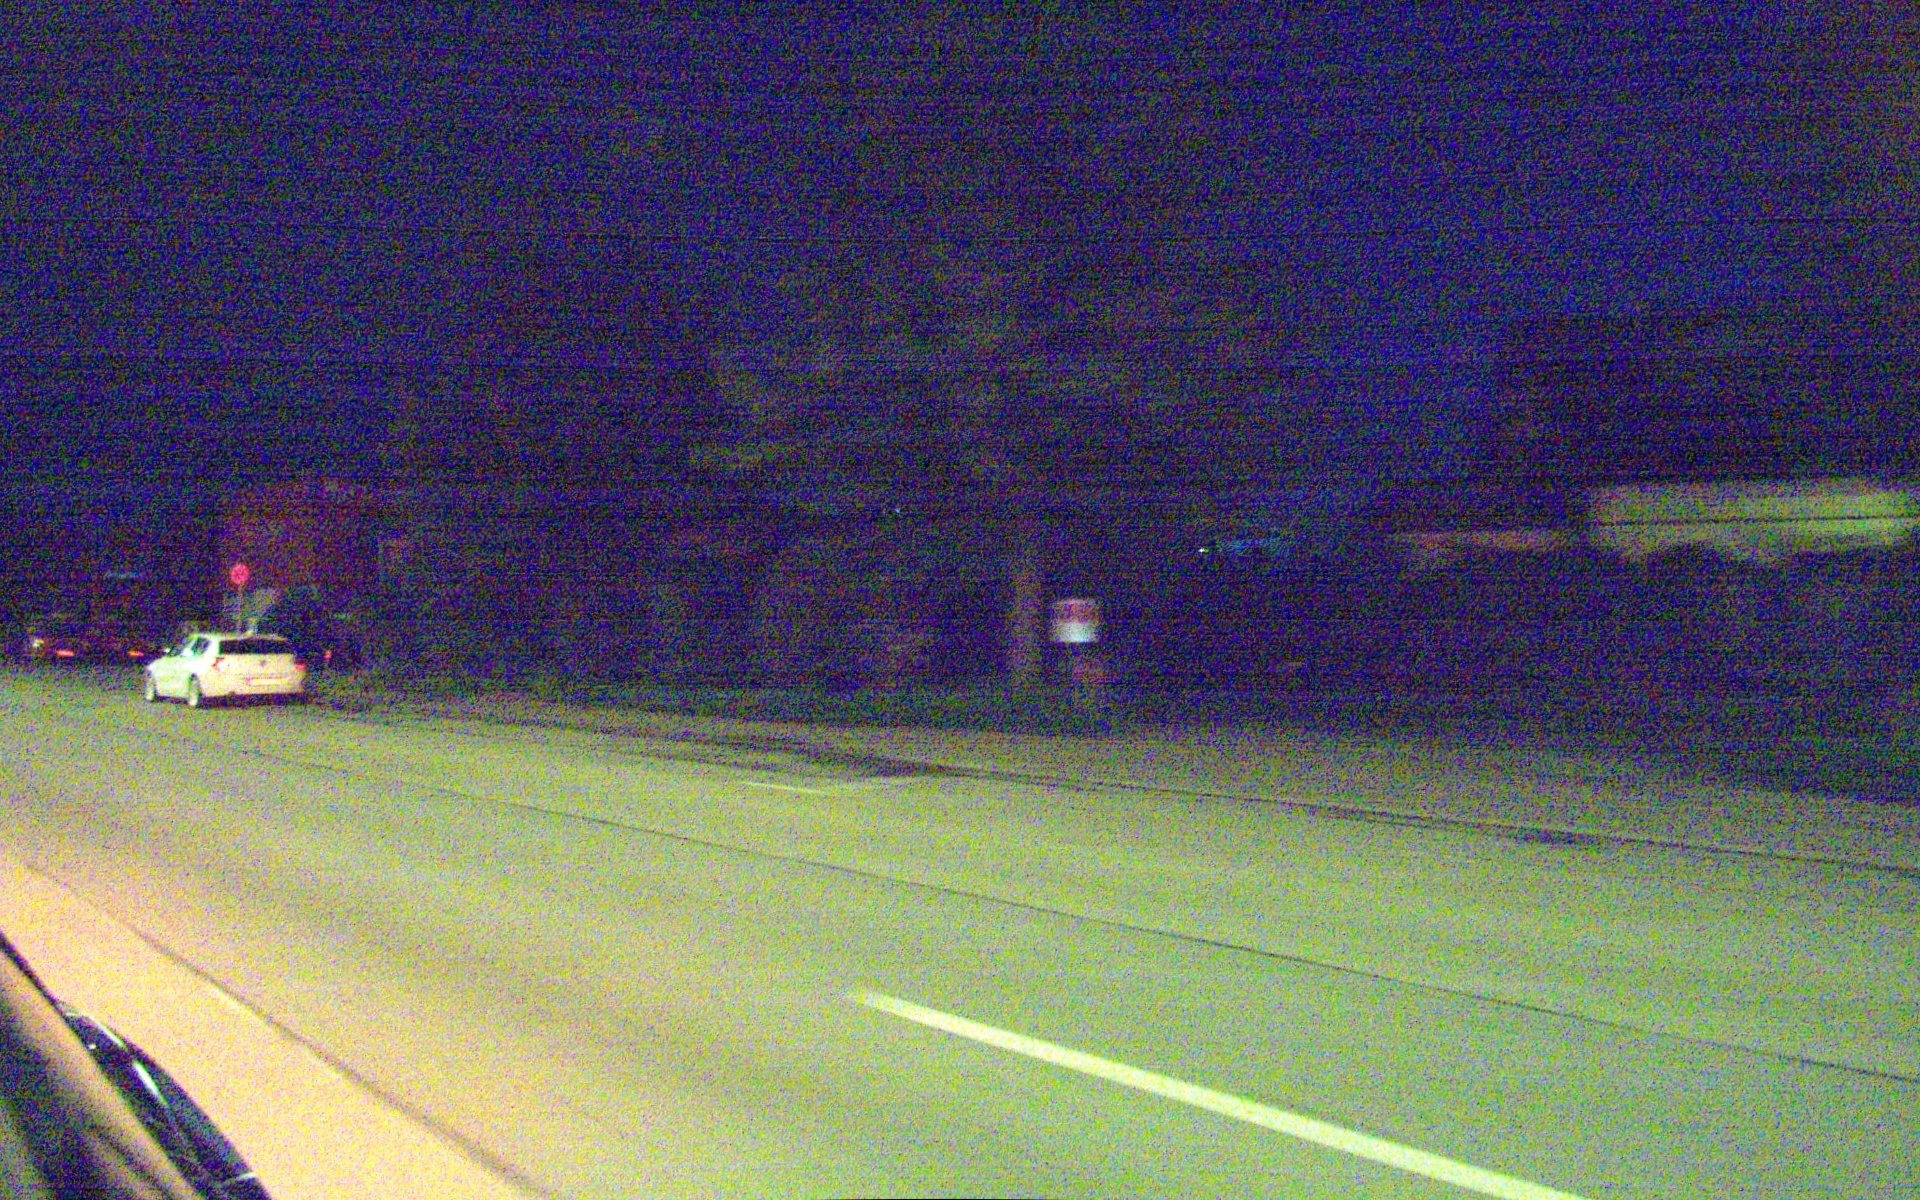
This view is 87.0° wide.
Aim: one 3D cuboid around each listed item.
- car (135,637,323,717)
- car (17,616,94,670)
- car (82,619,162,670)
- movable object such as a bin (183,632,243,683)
[{"bbox_3d":[-14.628,1.462,20.178,4.332,1.414,1.893,-2,-3,38],"label":"car"},{"bbox_3d":[-41.775,1.991,46.702,4.964,2.339,1.972,-2,-5,41],"label":"car"},{"bbox_3d":[-40.534,2.155,48.922,4.622,2.339,2.184,-2,-3,41],"label":"car"},{"bbox_3d":[-22.726,1.733,30.792,1.063,1.507,1.154,-2,-3,34],"label":"movable object such as a bin"}]
